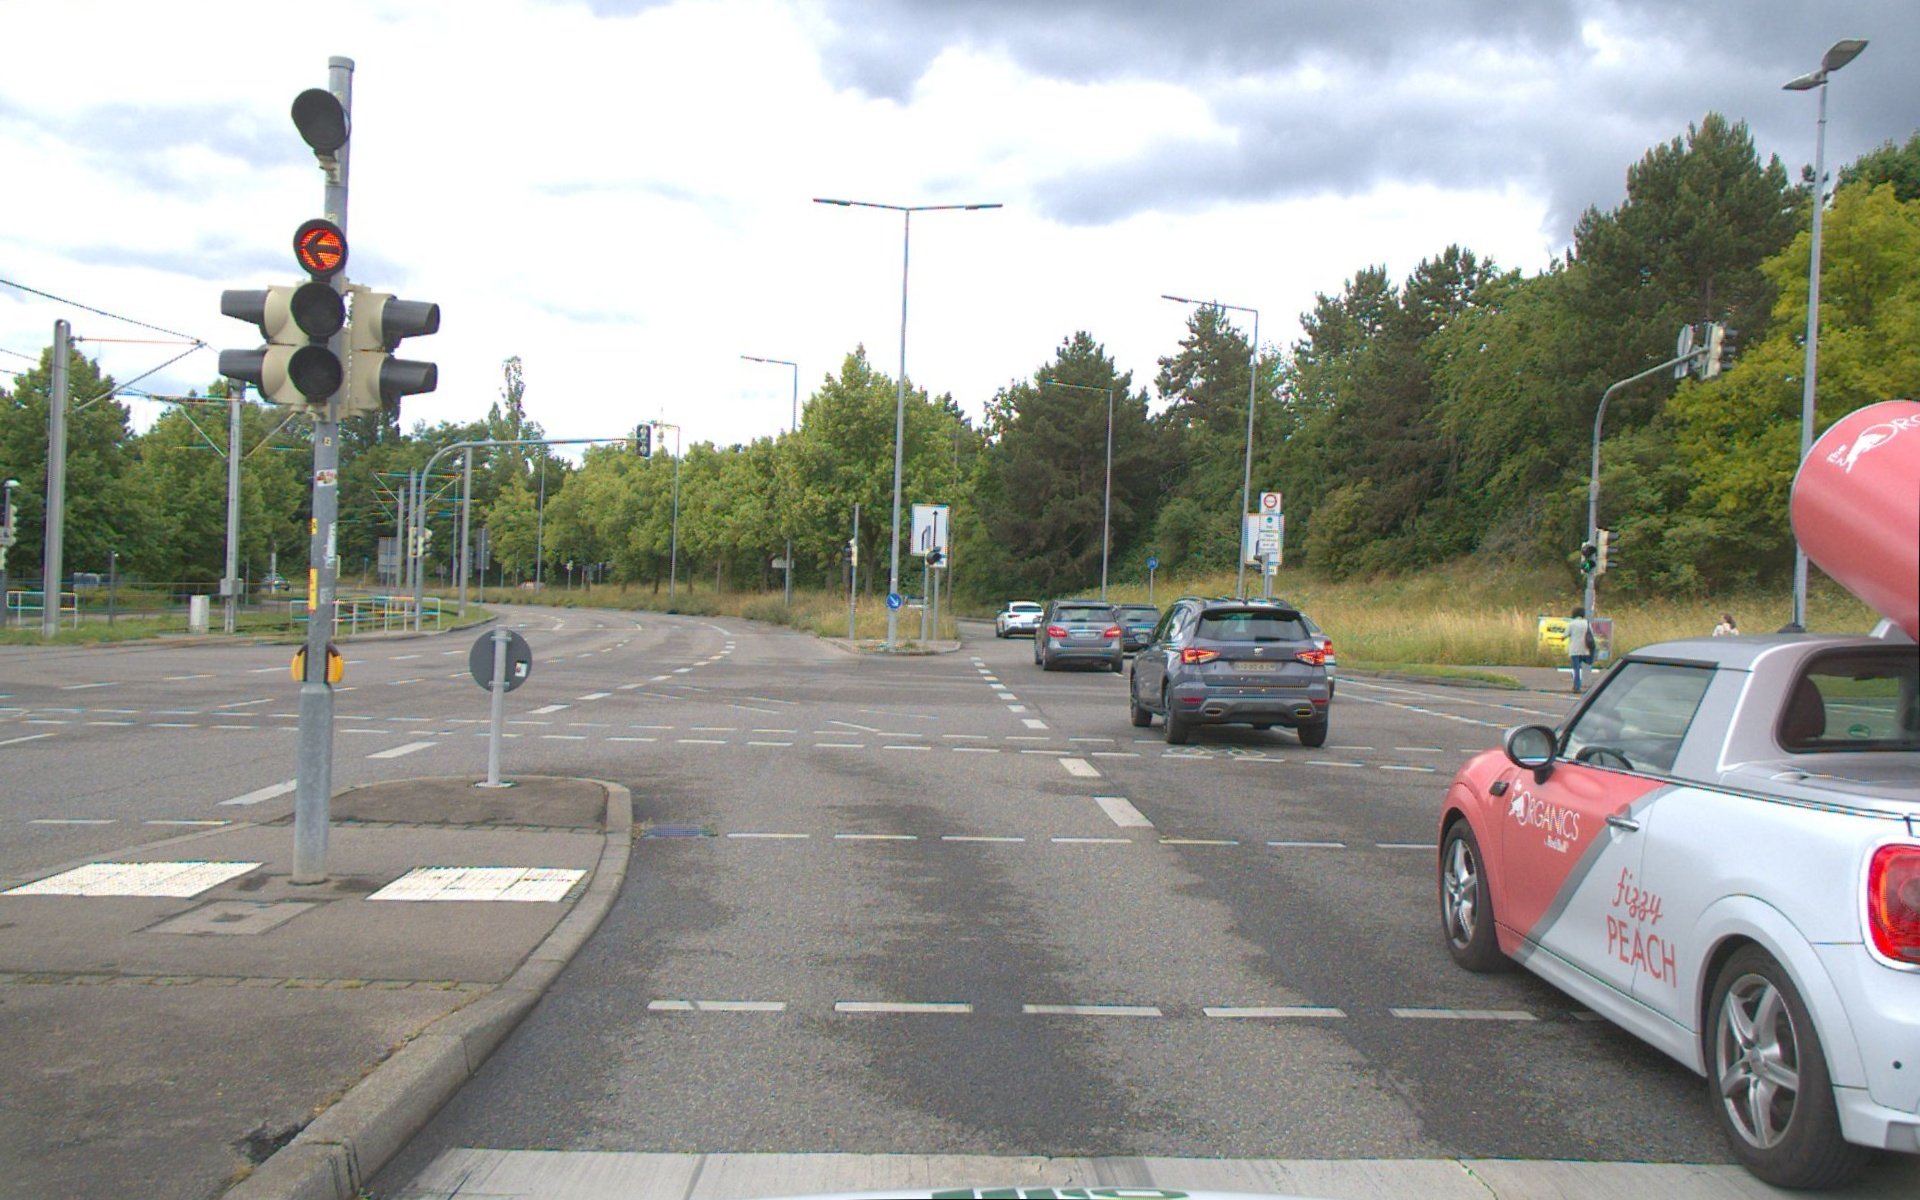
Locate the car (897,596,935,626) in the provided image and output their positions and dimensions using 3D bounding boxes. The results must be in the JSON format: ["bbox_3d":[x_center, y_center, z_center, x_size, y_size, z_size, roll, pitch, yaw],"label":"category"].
[{"bbox_3d":[-2.409,0.587,89.732,1.564,1.543,2.758,1,0,-13],"label":"car"}]

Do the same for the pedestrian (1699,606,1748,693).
[{"bbox_3d":[14.575,0.932,31.585,0.630,1.640,0.714,1,-1,5],"label":"pedestrian"}]

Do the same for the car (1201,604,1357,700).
[{"bbox_3d":[5.229,0.810,27.638,1.711,1.407,4.290,1,0,-1],"label":"car"}]

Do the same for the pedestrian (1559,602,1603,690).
[{"bbox_3d":[12.213,0.899,32.552,0.630,1.691,0.714,1,-1,6],"label":"pedestrian"}]

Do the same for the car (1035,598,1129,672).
[{"bbox_3d":[2.694,0.746,37.251,1.711,1.534,4.047,1,0,-1],"label":"car"}]

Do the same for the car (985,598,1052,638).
[{"bbox_3d":[2.296,0.705,66.302,1.810,1.533,4.520,1,0,-10],"label":"car"}]

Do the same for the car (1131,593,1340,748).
[{"bbox_3d":[2.966,0.704,18.517,1.591,1.519,3.836,1,0,-2],"label":"car"}]

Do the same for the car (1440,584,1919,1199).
[{"bbox_3d":[3.004,0.734,5.467,1.784,1.532,3.494,1,1,0],"label":"car"}]

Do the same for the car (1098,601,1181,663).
[{"bbox_3d":[4.833,0.826,45.065,1.711,1.511,4.355,1,1,-1],"label":"car"}]
